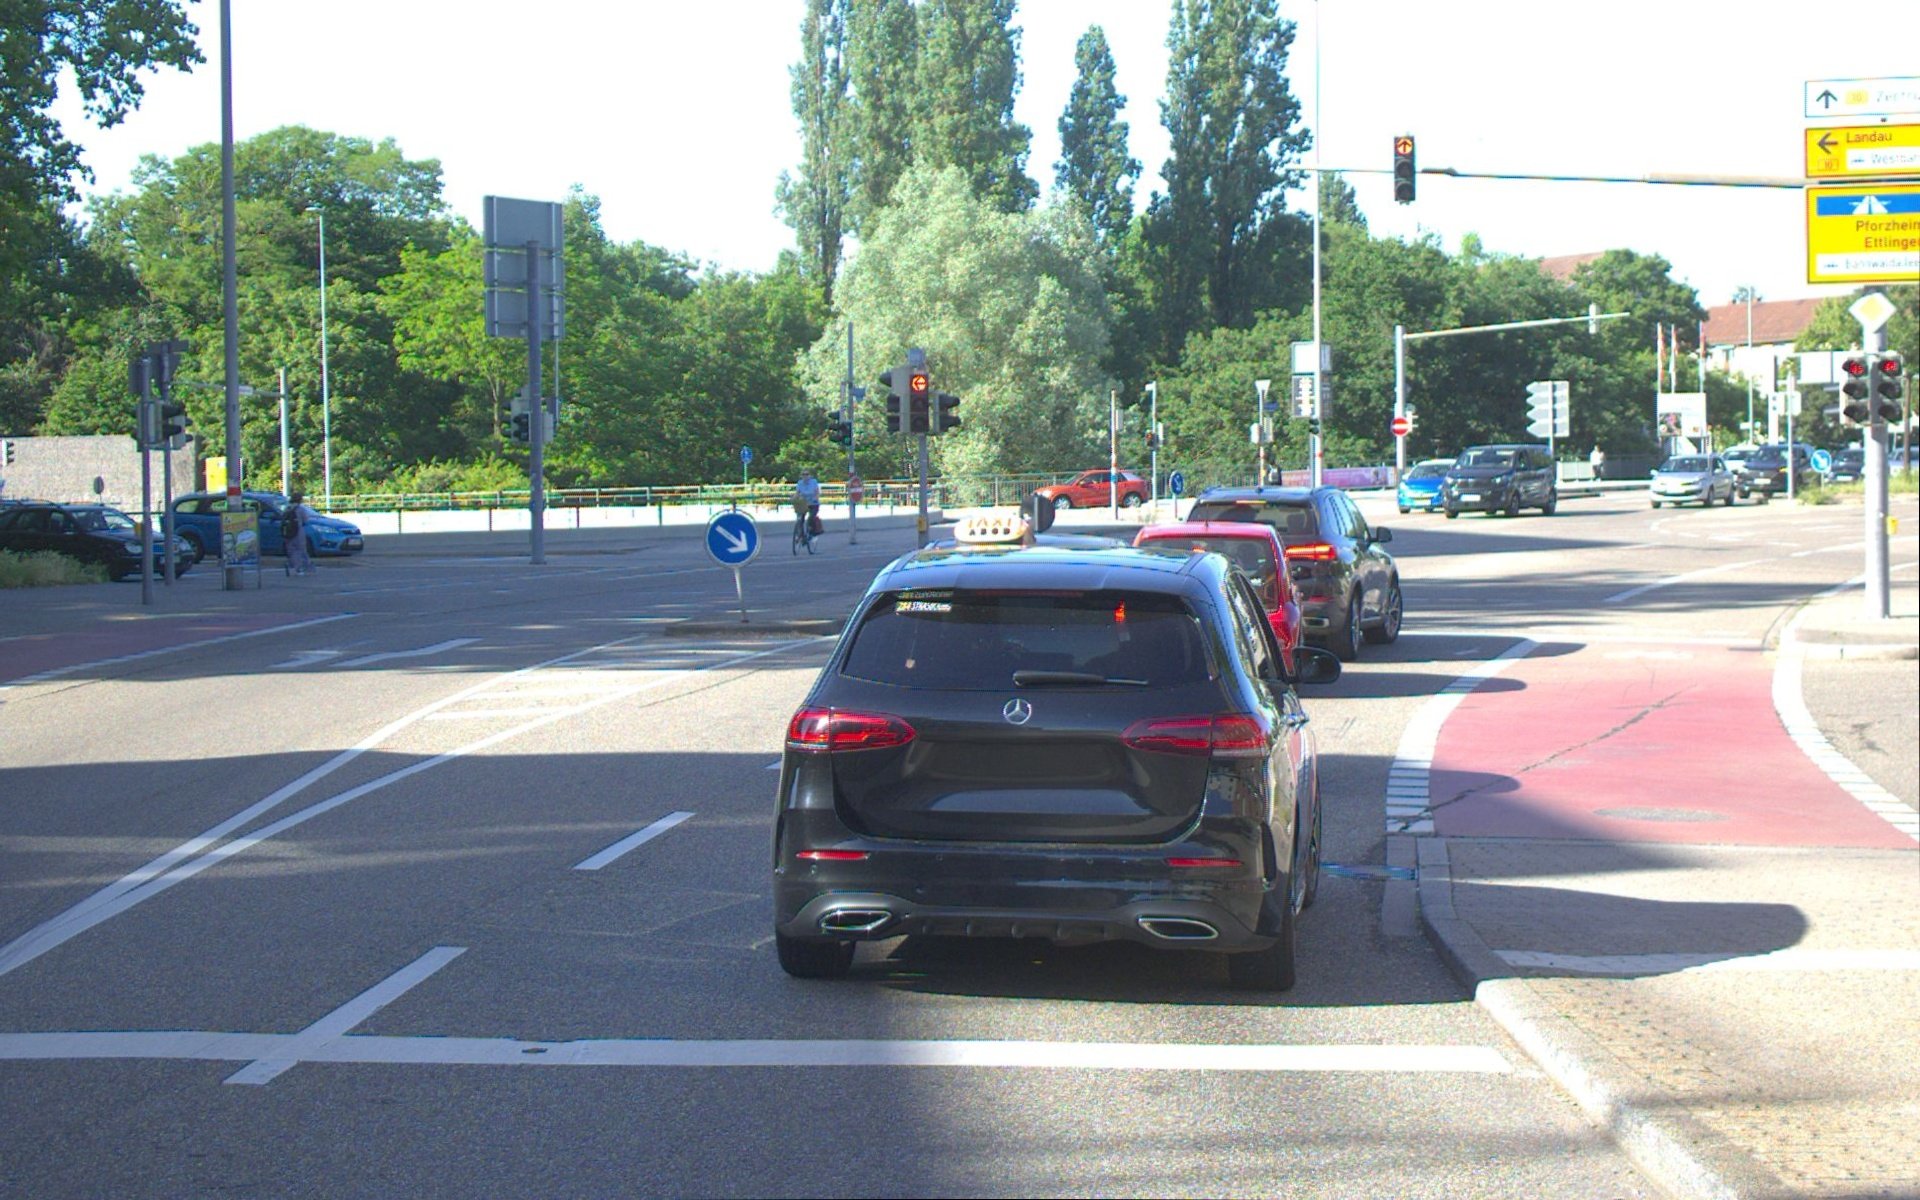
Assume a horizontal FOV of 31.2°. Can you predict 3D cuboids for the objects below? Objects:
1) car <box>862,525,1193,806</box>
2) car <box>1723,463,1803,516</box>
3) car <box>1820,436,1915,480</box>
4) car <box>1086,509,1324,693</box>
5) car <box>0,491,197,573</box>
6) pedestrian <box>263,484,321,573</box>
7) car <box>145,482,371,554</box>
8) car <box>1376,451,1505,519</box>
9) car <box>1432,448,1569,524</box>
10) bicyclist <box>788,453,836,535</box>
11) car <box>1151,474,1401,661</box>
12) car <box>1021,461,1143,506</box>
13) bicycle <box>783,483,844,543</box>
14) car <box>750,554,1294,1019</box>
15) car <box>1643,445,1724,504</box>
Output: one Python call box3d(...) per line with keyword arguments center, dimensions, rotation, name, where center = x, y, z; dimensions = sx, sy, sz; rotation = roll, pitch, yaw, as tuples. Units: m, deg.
box3d(center=(0.460, 0.326, 21.232), dimensions=(1.820, 1.484, 4.000), rotation=(-1, 2, 2), name="car")
box3d(center=(24.815, -3.418, 106.144), dimensions=(1.725, 1.577, 3.999), rotation=(0, 3, 23), name="car")
box3d(center=(30.431, -4.750, 115.273), dimensions=(1.997, 1.448, 3.993), rotation=(1, 2, 32), name="car")
box3d(center=(2.267, -0.049, 30.925), dimensions=(1.821, 1.474, 3.999), rotation=(1, 2, 8), name="car")
box3d(center=(-16.307, -1.237, 62.884), dimensions=(4.443, 1.433, 1.823), rotation=(0, 3, 29), name="car")
box3d(center=(-12.153, -1.297, 62.597), dimensions=(0.686, 1.533, 1.366), rotation=(1, -2, 4), name="pedestrian")
box3d(center=(-14.844, -1.729, 72.703), dimensions=(4.442, 1.433, 1.824), rotation=(0, 2, 25), name="car")
box3d(center=(13.643, -3.279, 97.408), dimensions=(1.997, 1.858, 4.844), rotation=(1, 3, 29), name="car")
box3d(center=(14.324, -3.043, 90.927), dimensions=(1.997, 1.928, 4.844), rotation=(0, 3, 29), name="car")
box3d(center=(-3.126, -2.241, 72.607), dimensions=(0.687, 1.695, 1.197), rotation=(0, 3, 13), name="bicyclist")
box3d(center=(3.408, -0.411, 36.347), dimensions=(1.870, 1.784, 4.411), rotation=(2, 3, 15), name="car")
box3d(center=(4.331, -4.153, 121.981), dimensions=(3.986, 1.543, 2.001), rotation=(-1, 2, -10), name="car")
box3d(center=(-3.086, -1.856, 72.778), dimensions=(0.687, 1.198, 2.326), rotation=(0, 3, 13), name="bicycle")
box3d(center=(0.348, 0.587, 13.075), dimensions=(1.751, 1.488, 3.999), rotation=(0, 0, 4), name="car")
box3d(center=(20.344, -3.538, 96.548), dimensions=(1.821, 1.577, 4.101), rotation=(0, 2, 17), name="car")
